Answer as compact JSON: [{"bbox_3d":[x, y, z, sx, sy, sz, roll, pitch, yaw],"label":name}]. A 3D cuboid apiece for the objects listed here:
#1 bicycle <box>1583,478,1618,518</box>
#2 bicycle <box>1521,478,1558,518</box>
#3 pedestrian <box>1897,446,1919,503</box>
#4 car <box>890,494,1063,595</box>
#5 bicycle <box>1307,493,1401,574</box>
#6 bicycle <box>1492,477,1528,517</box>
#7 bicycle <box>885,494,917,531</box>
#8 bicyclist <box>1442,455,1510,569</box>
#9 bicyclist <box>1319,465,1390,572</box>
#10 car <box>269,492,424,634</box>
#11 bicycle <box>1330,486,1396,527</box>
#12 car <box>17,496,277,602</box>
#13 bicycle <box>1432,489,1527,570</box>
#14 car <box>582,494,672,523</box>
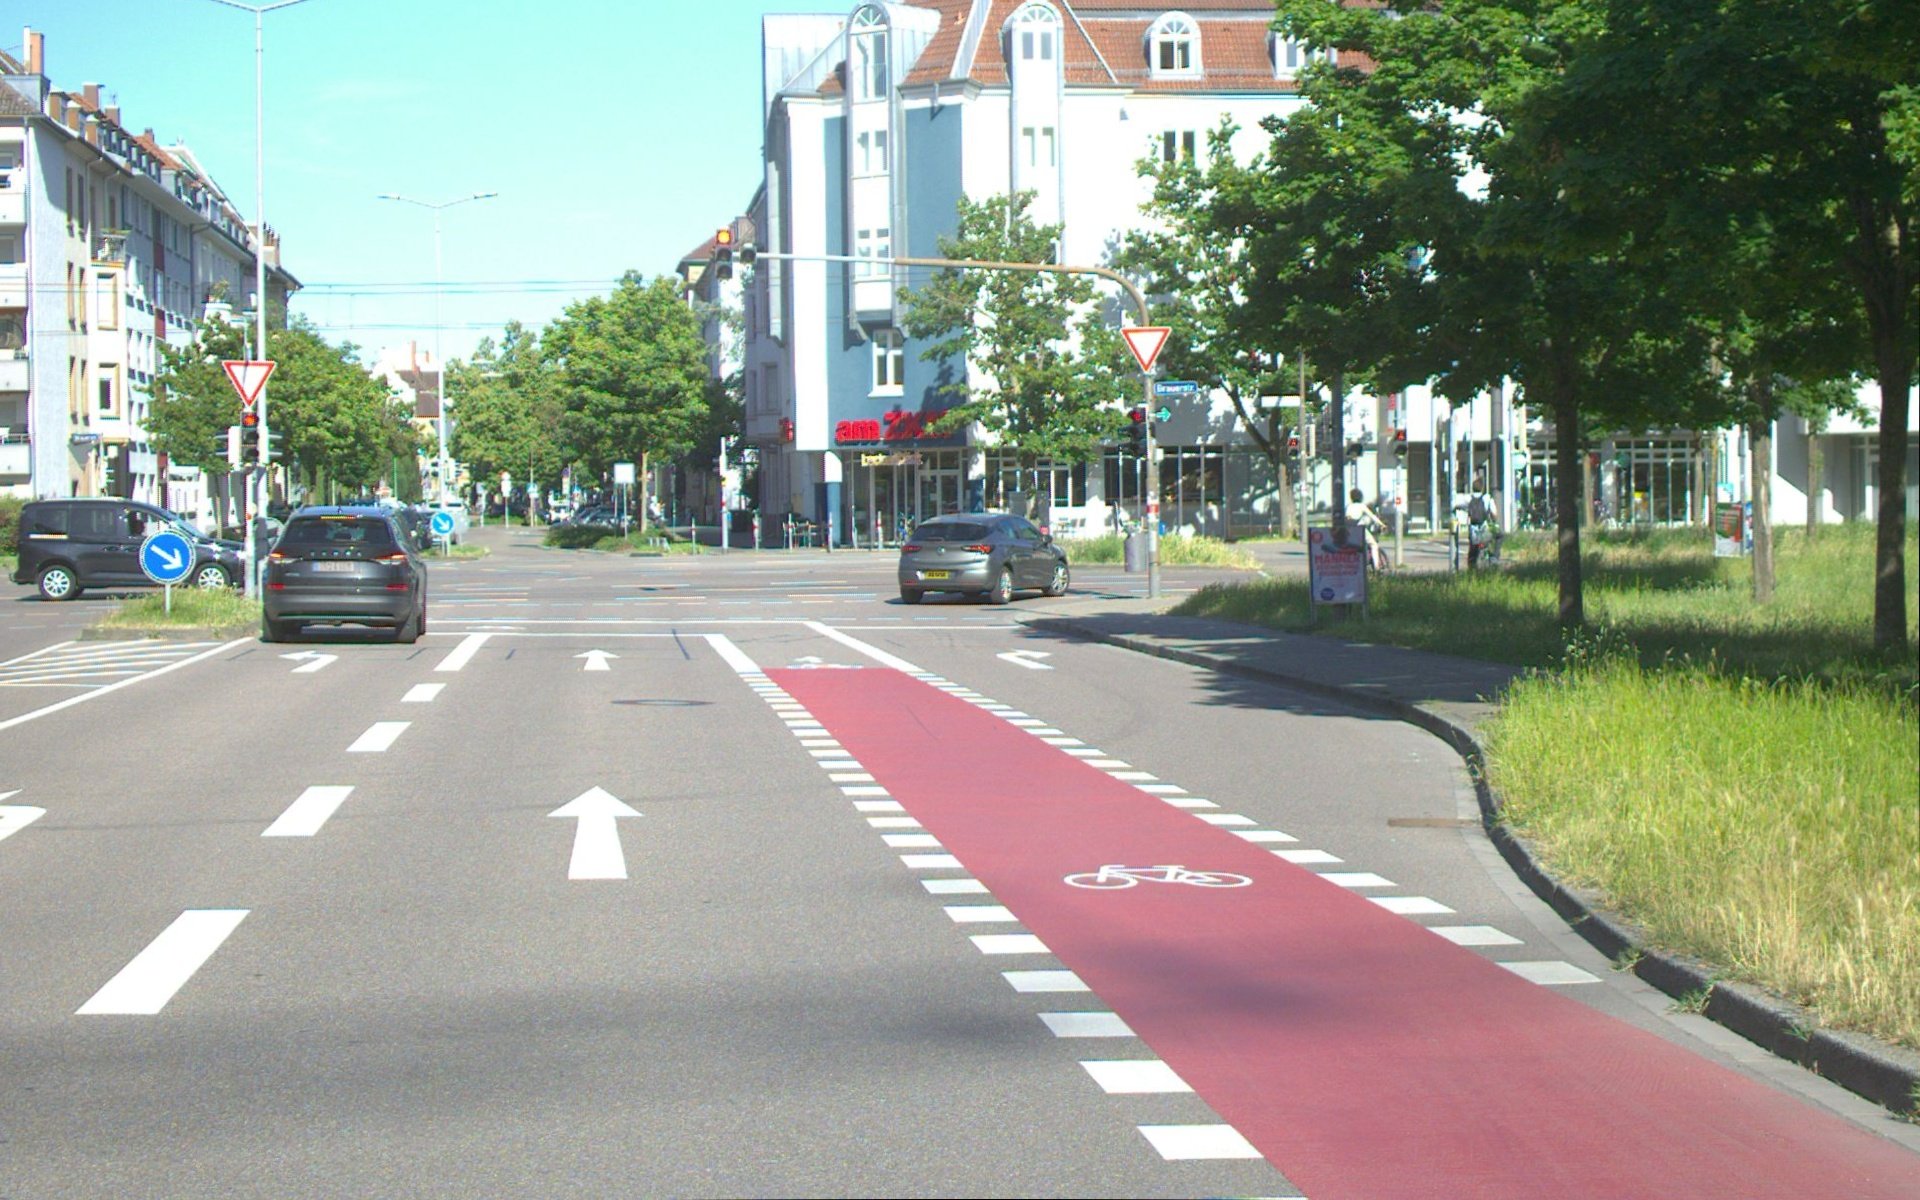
[{"bbox_3d":[19.444,-3.103,104.406,0.560,1.178,1.870,-1,2,-5],"label":"bicycle"},{"bbox_3d":[17.582,-3.103,104.284,0.560,1.178,1.870,-1,2,-8],"label":"bicycle"},{"bbox_3d":[28.719,-3.770,103.126,0.989,1.717,0.654,-1,2,-7],"label":"pedestrian"},{"bbox_3d":[0.311,-0.924,56.908,1.689,1.572,3.868,2,1,19],"label":"car"},{"bbox_3d":[6.807,-1.163,59.340,0.791,1.343,2.075,0,2,32],"label":"bicycle"},{"bbox_3d":[16.673,-3.122,104.226,0.560,1.178,1.870,-1,2,-8],"label":"bicycle"},{"bbox_3d":[-1.634,-2.414,94.690,0.471,1.023,1.517,-2,2,-17],"label":"bicycle"},{"bbox_3d":[8.919,-1.525,59.426,0.791,1.952,1.009,0,2,32],"label":"bicyclist"},{"bbox_3d":[6.815,-1.407,59.363,0.791,1.818,1.133,0,2,32],"label":"bicyclist"},{"bbox_3d":[-7.523,-0.494,42.428,1.753,1.622,4.479,1,1,-9],"label":"car"},{"bbox_3d":[12.014,-2.789,102.574,1.863,1.178,0.562,-1,2,-10],"label":"bicycle"},{"bbox_3d":[-14.821,-0.947,62.896,4.481,1.794,1.765,1,1,-9],"label":"car"},{"bbox_3d":[9.006,-1.224,59.562,0.791,1.343,2.259,0,2,32],"label":"bicycle"},{"bbox_3d":[-14.238,-3.903,146.792,3.566,1.219,1.731,0,1,-16],"label":"car"}]
